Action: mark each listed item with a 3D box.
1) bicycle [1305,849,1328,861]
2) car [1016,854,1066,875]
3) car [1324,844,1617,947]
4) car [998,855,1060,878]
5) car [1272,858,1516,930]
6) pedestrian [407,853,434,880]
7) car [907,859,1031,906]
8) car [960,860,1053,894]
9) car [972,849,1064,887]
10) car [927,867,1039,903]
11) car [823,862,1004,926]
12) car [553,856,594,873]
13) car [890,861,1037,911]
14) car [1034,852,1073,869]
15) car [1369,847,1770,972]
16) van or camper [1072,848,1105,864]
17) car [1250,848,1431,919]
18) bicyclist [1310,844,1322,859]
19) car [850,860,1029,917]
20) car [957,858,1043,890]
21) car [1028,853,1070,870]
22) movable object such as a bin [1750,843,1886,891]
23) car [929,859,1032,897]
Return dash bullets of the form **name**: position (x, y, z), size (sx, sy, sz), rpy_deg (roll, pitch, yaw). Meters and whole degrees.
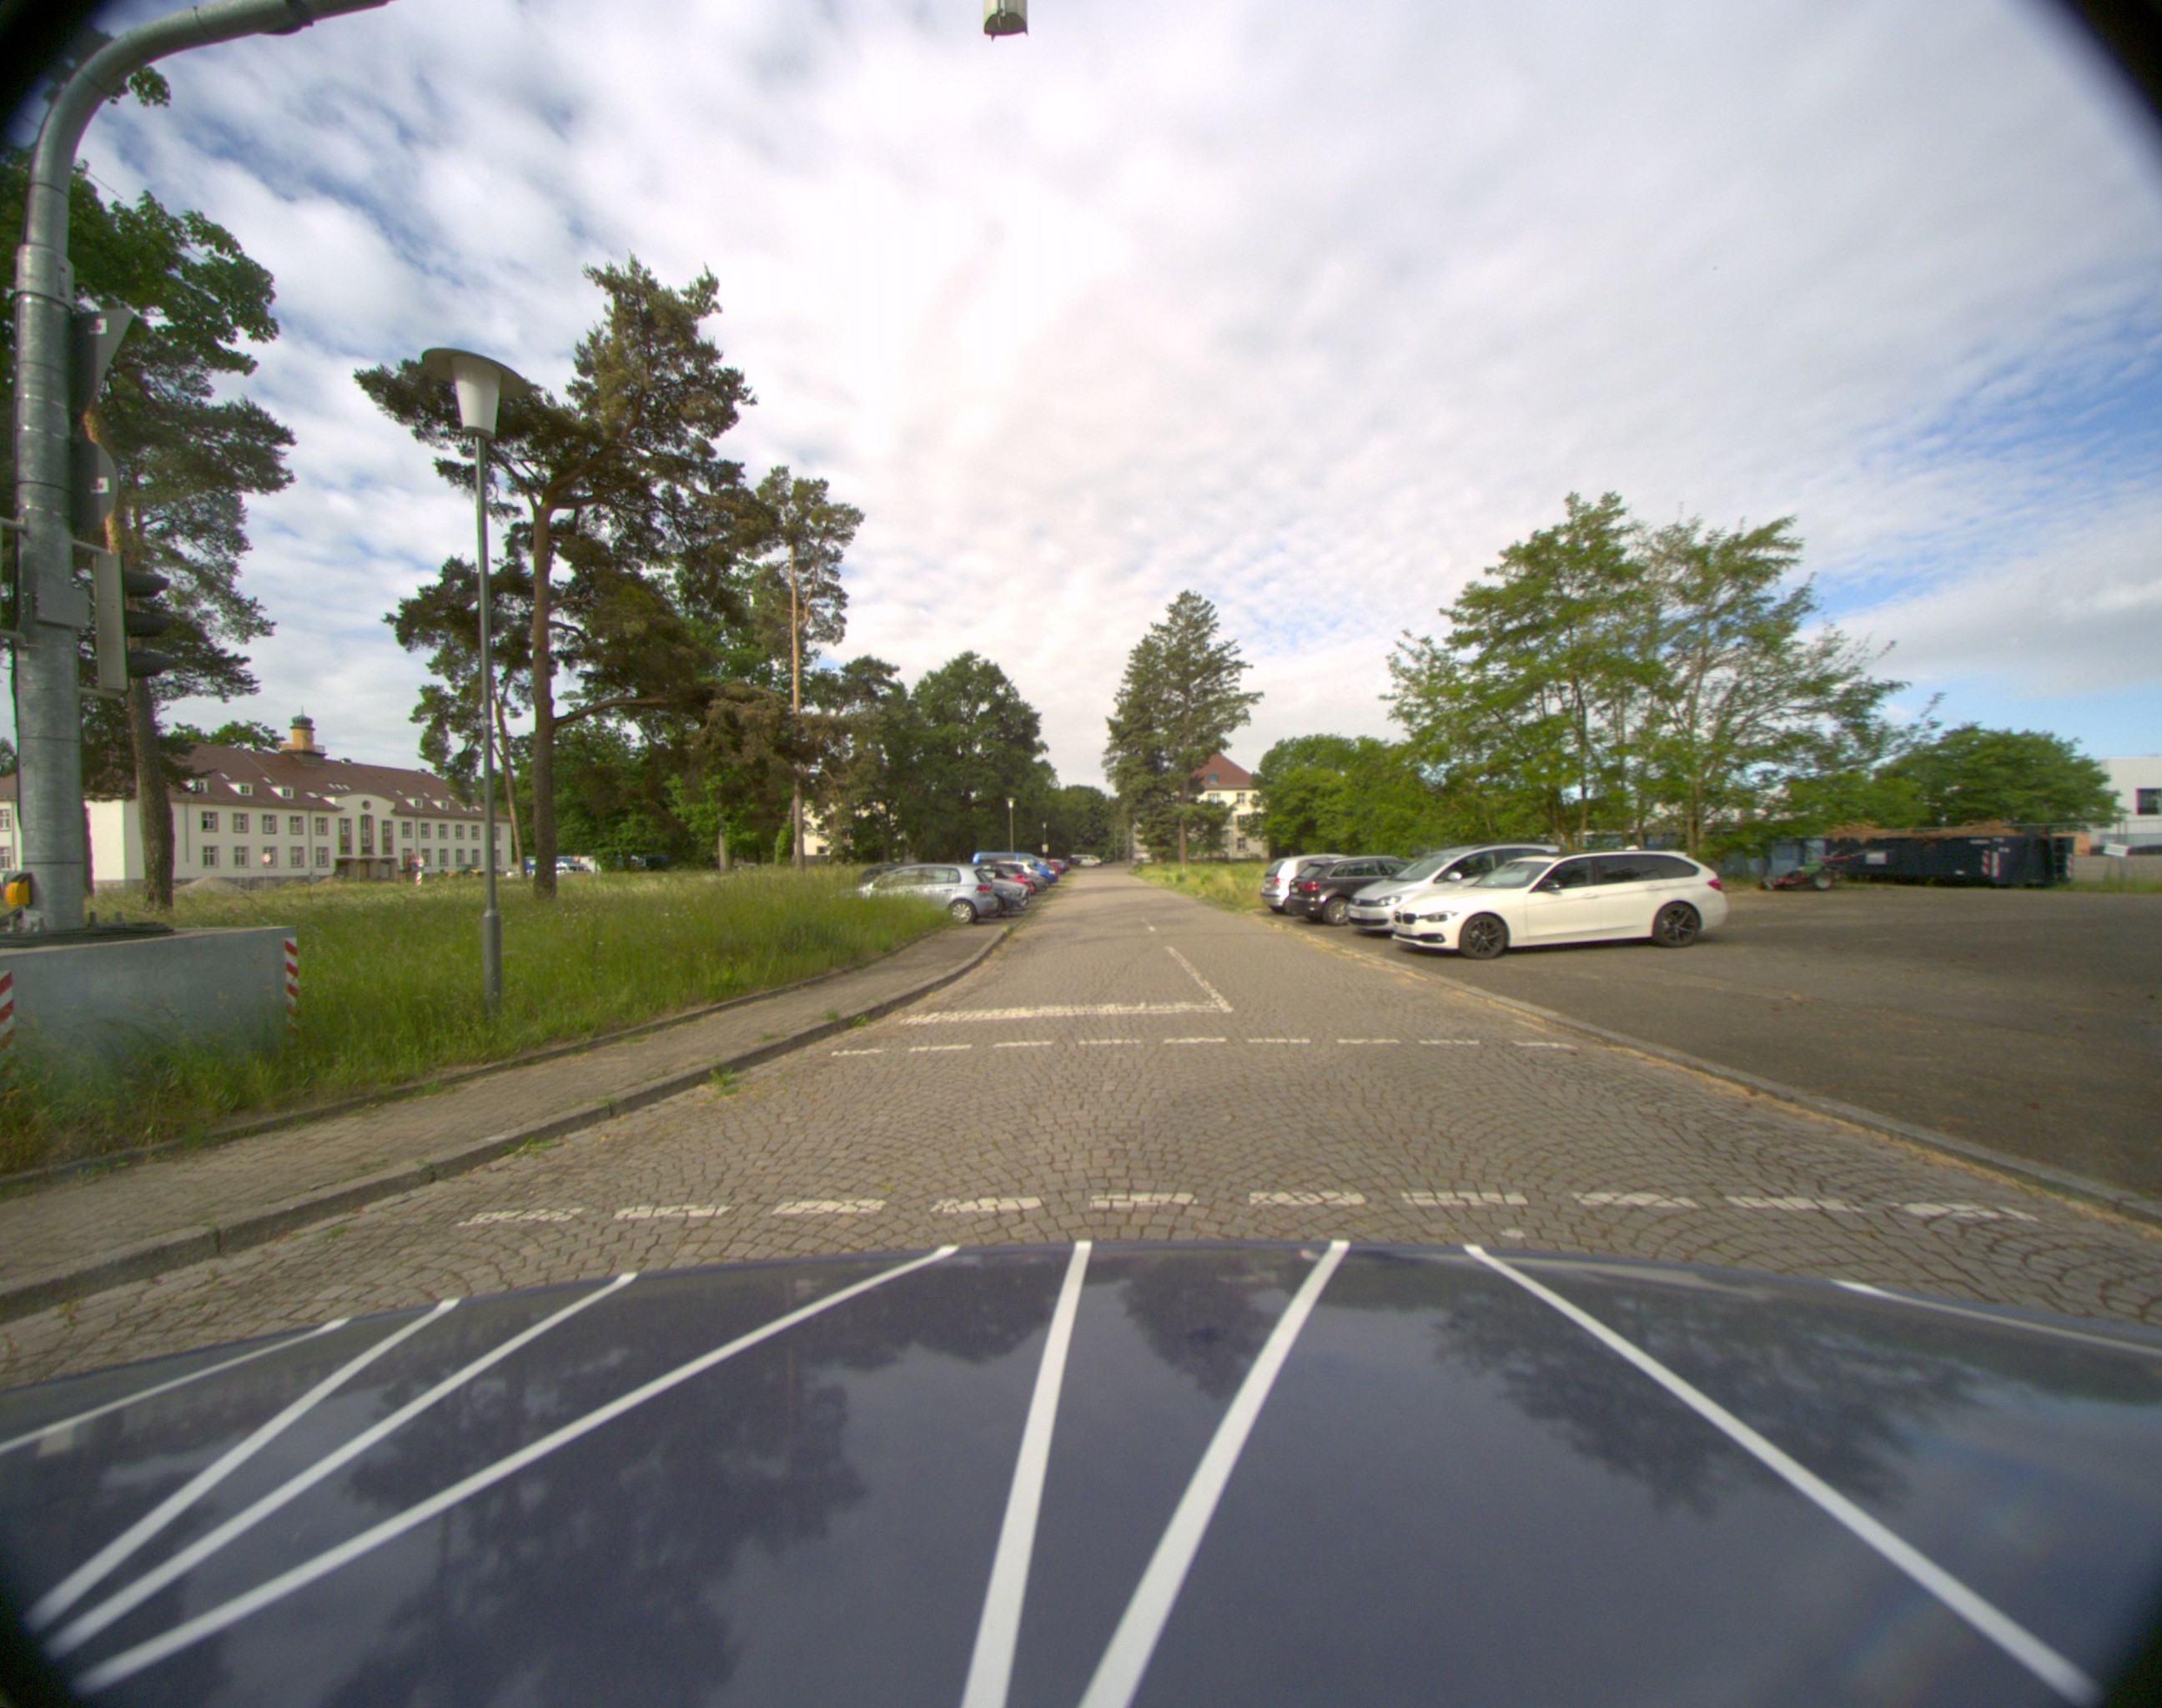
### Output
- **bicycle**: position (30.536, 0.120, 98.427), size (2.673, 1.496, 1.273), rpy_deg (-1, 0, 6)
- **car**: position (-3.238, 0.829, 61.587), size (3.998, 1.560, 1.999), rpy_deg (-1, 0, -2)
- **car**: position (7.092, 0.706, 14.125), size (4.485, 1.580, 1.847), rpy_deg (-3, 1, -3)
- **car**: position (-3.476, 0.818, 51.293), size (3.996, 1.495, 1.870), rpy_deg (-1, 0, 3)
- **car**: position (6.795, 0.828, 16.825), size (4.632, 1.414, 1.884), rpy_deg (-1, 0, -2)
- **pedestrian**: position (-53.523, 1.007, 61.594), size (1.184, 2.165, 1.056), rpy_deg (-1, 1, 1)
- **car**: position (-3.820, 0.971, 26.293), size (3.932, 1.504, 1.797), rpy_deg (-1, 0, 3)
- **car**: position (-3.300, 1.017, 34.072), size (3.932, 1.427, 1.797), rpy_deg (-1, 0, 1)
- **car**: position (-3.461, 0.742, 42.358), size (4.839, 2.002, 2.001), rpy_deg (-1, 1, 5)
- **car**: position (-3.653, 1.148, 28.788), size (3.932, 1.227, 1.797), rpy_deg (-1, 0, 2)
- **car**: position (-4.009, 0.954, 18.660), size (3.996, 1.410, 1.797), rpy_deg (-1, 0, 2)
- **car**: position (-66.542, 1.344, 99.749), size (2.166, 2.002, 4.834), rpy_deg (-1, 0, -1)
- **car**: position (-3.635, 0.997, 23.971), size (4.266, 1.437, 1.797), rpy_deg (-1, 0, 3)
- **car**: position (-2.760, 0.667, 76.372), size (3.790, 1.615, 2.000), rpy_deg (-1, 0, 2)
- **car**: position (7.171, 0.759, 11.518), size (4.818, 1.431, 1.913), rpy_deg (-4, 1, -2)
- **van or camper**: position (1.215, 0.300, 125.353), size (5.248, 2.449, 2.209), rpy_deg (-1, 1, -1)
- **car**: position (6.577, 0.717, 19.494), size (3.985, 1.447, 1.680), rpy_deg (-4, 1, -4)
- **bicyclist**: position (30.435, -0.327, 98.437), size (1.318, 1.857, 1.250), rpy_deg (-1, 1, 6)
- **car**: position (-3.864, 0.929, 21.251), size (4.630, 1.437, 1.797), rpy_deg (-1, 0, 1)
- **car**: position (-3.913, 0.969, 37.042), size (3.932, 1.441, 1.797), rpy_deg (-1, 0, 1)
- **car**: position (-3.028, 0.703, 71.895), size (3.790, 1.560, 2.000), rpy_deg (-1, 0, 2)
- **movable object such as a bin**: position (19.789, 0.324, 20.450), size (2.537, 1.205, 1.170), rpy_deg (-1, 1, 0)
- **car**: position (-4.086, 0.977, 31.292), size (3.932, 1.467, 1.797), rpy_deg (-1, 0, 2)
